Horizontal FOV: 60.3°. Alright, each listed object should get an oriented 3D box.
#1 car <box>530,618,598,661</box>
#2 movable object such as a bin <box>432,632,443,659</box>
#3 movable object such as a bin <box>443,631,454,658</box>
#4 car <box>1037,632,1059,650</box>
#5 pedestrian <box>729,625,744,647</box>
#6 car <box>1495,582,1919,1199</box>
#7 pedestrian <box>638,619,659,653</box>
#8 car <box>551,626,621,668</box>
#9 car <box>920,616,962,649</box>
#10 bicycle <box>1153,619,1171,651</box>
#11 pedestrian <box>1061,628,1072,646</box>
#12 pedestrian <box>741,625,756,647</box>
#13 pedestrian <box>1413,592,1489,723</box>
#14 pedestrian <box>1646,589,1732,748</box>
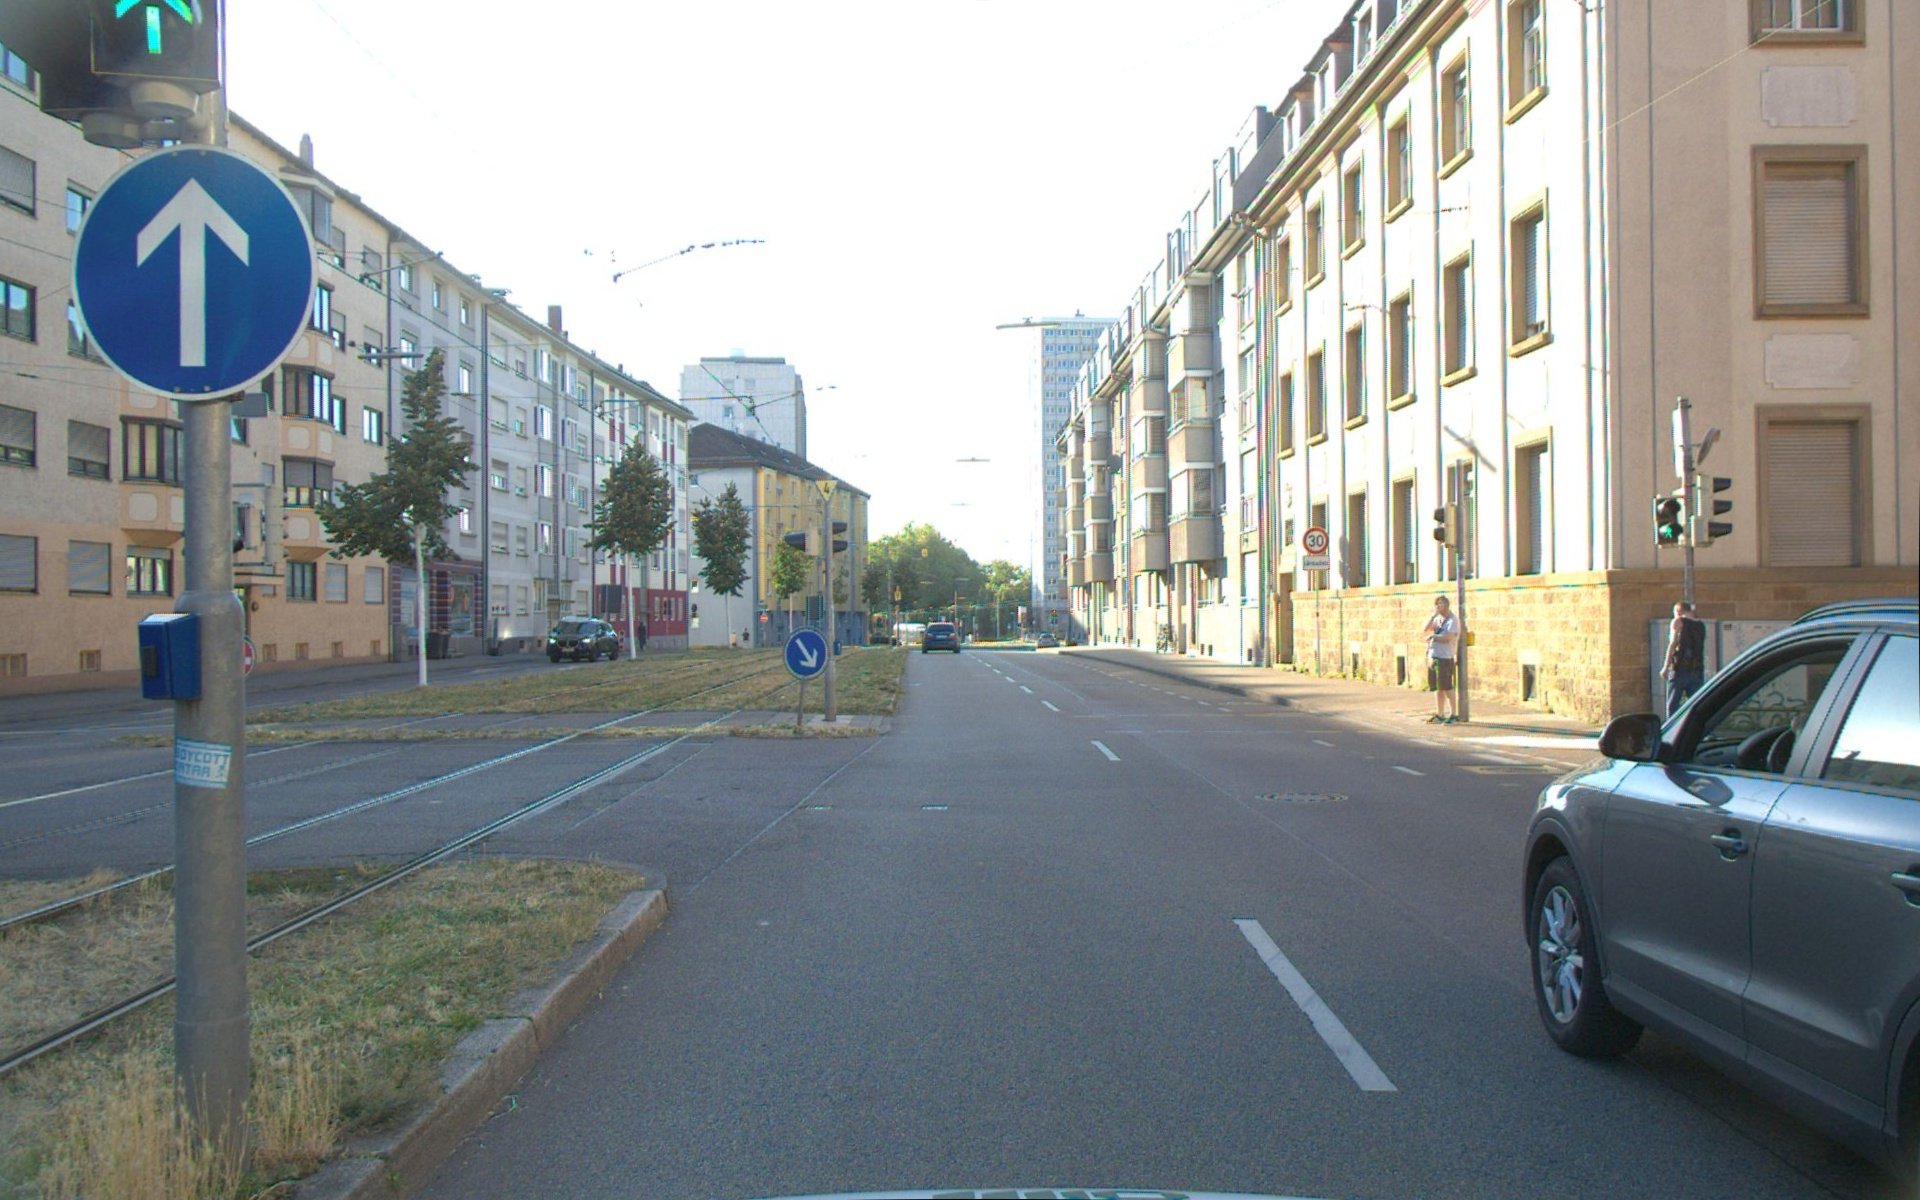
[{"bbox_3d":[-18.714,1.875,78.367,1.952,1.959,4.543,1,-1,2],"label":"car"},{"bbox_3d":[-20.411,1.766,64.598,0.292,1.055,0.441,1,-2,-2],"label":"movable object such as a bin"},{"bbox_3d":[-20.277,1.778,65.565,0.292,1.055,0.441,1,-2,-2],"label":"movable object such as a bin"},{"bbox_3d":[8.092,3.771,152.107,1.952,1.591,4.000,1,-1,2],"label":"car"},{"bbox_3d":[-17.186,2.758,127.071,0.942,1.724,1.011,1,-2,4],"label":"pedestrian"},{"bbox_3d":[2.966,0.772,4.517,1.663,1.580,4.225,1,-1,0],"label":"car"},{"bbox_3d":[-18.855,2.195,100.219,0.983,2.071,0.886,0,-2,6],"label":"pedestrian"},{"bbox_3d":[-15.518,1.923,68.842,1.858,1.662,4.746,-1,-1,-1],"label":"car"},{"bbox_3d":[-0.884,1.529,77.771,1.887,1.482,4.326,1,-1,0],"label":"car"},{"bbox_3d":[7.198,1.261,58.942,0.376,1.115,1.503,-1,-1,-3],"label":"bicycle"},{"bbox_3d":[7.404,2.570,114.861,0.677,1.256,0.736,1,-2,1],"label":"pedestrian"},{"bbox_3d":[-16.343,2.791,127.618,0.942,1.699,1.011,1,-2,4],"label":"pedestrian"},{"bbox_3d":[6.890,0.803,23.242,0.818,1.793,0.823,1,-2,-1],"label":"pedestrian"},{"bbox_3d":[8.417,0.784,19.125,0.616,1.789,0.825,1,-2,-1],"label":"pedestrian"}]
